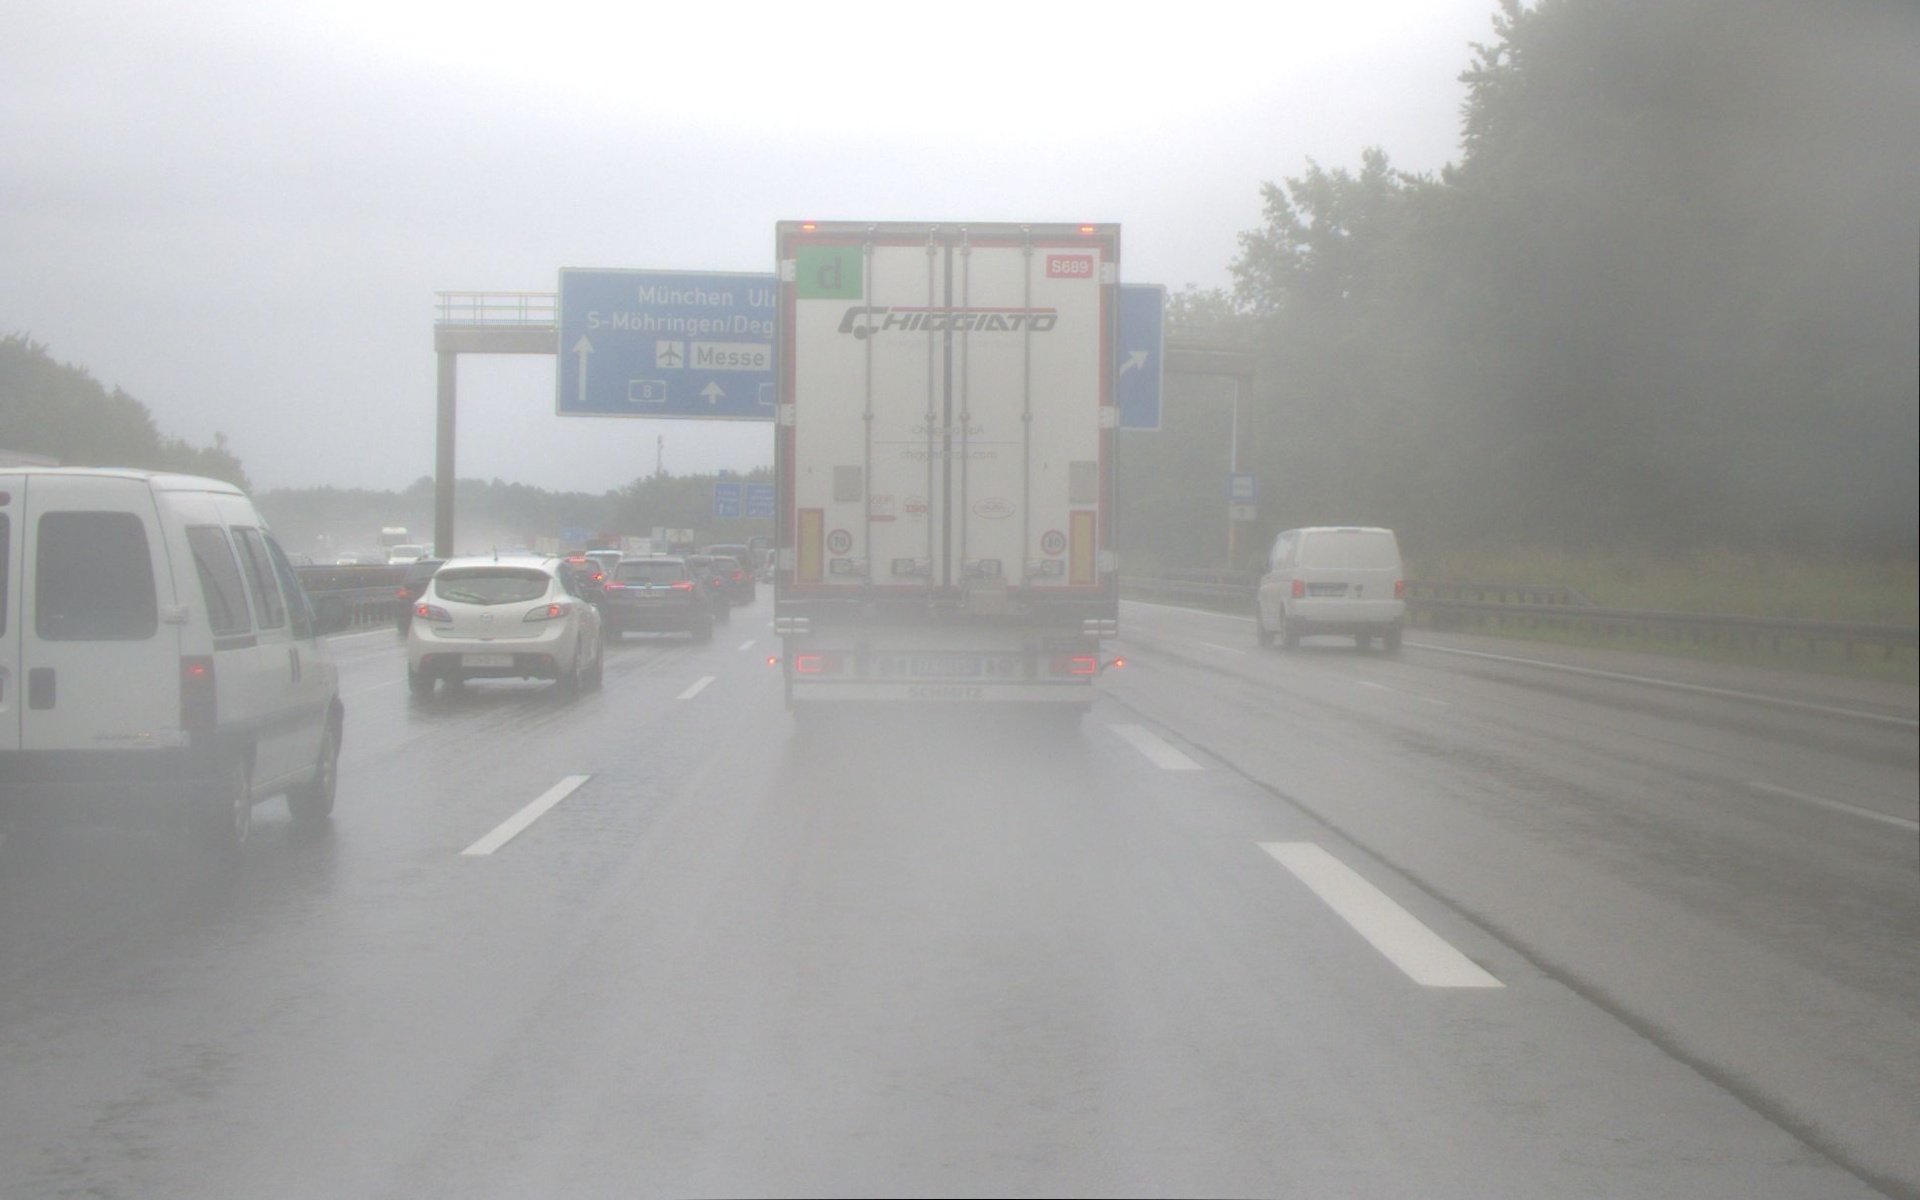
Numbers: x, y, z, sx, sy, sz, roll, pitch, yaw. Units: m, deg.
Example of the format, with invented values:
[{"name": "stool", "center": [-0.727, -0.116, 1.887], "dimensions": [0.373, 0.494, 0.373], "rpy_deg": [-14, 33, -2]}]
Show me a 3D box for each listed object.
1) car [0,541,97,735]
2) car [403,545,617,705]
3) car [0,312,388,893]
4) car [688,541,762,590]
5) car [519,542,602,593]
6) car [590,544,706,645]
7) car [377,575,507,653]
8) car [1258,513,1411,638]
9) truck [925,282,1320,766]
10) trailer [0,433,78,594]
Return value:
[{"name": "car", "center": [-8.929, 0.300, 29.629], "dimensions": [1.845, 1.586, 4.467], "rpy_deg": [1, 1, 0]}, {"name": "car", "center": [-4.795, 0.225, 37.127], "dimensions": [1.845, 1.586, 4.072], "rpy_deg": [1, 1, -1]}, {"name": "car", "center": [-4.441, -0.053, 17.726], "dimensions": [2.212, 2.564, 5.016], "rpy_deg": [1, 1, -1]}, {"name": "car", "center": [-6.684, -1.009, 98.161], "dimensions": [1.845, 1.326, 4.467], "rpy_deg": [1, 1, -1]}, {"name": "car", "center": [-11.079, -0.912, 95.508], "dimensions": [1.845, 1.326, 4.467], "rpy_deg": [1, 1, -1]}, {"name": "car", "center": [-5.272, -0.124, 58.551], "dimensions": [1.845, 1.586, 4.467], "rpy_deg": [1, 1, -4]}, {"name": "car", "center": [-9.767, 0.237, 65.111], "dimensions": [1.845, 1.326, 4.467], "rpy_deg": [1, 1, -1]}, {"name": "car", "center": [6.019, -0.433, 55.793], "dimensions": [1.990, 1.914, 4.767], "rpy_deg": [1, 1, 1]}, {"name": "truck", "center": [1.351, -0.627, 31.102], "dimensions": [2.872, 3.550, 11.302], "rpy_deg": [1, 1, 2]}, {"name": "trailer", "center": [-25.425, -2.218, 88.398], "dimensions": [2.540, 4.011, 13.853], "rpy_deg": [1, 1, -3]}]
